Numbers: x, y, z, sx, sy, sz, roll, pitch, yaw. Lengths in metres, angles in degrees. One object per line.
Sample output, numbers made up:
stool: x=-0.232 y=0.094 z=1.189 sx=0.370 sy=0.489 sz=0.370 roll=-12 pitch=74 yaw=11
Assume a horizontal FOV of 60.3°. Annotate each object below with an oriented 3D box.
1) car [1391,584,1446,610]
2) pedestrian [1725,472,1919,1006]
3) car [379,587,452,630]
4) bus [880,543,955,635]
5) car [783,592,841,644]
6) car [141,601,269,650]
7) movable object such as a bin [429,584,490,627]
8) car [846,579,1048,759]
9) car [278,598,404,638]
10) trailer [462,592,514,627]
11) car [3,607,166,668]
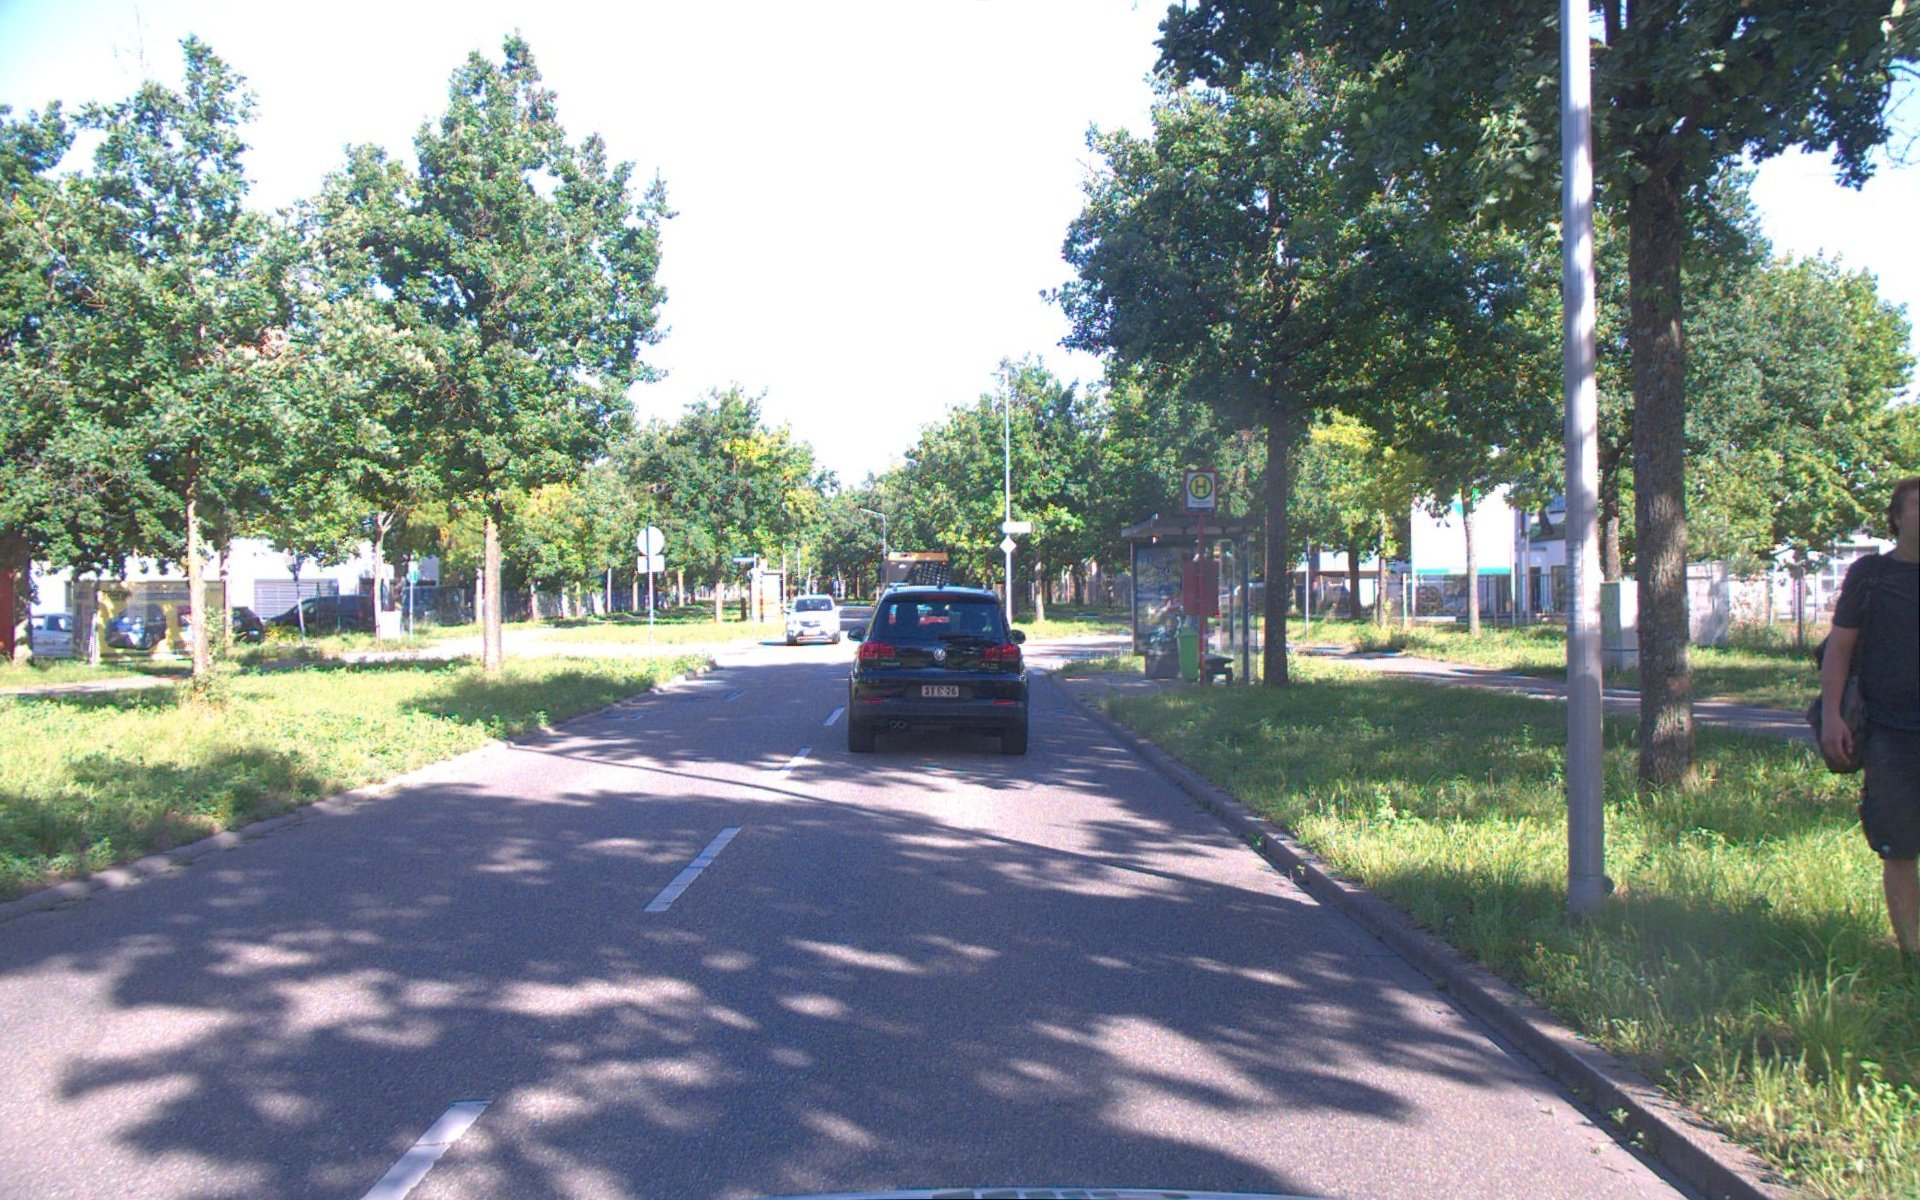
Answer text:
car: x=25.595 y=-0.163 z=92.476 sx=1.731 sy=1.408 sz=3.763 roll=-1 pitch=0 yaw=-6
pedestrian: x=3.439 y=0.426 z=5.773 sx=0.998 sy=1.680 sz=1.099 roll=-1 pitch=0 yaw=-1
car: x=-27.098 y=0.416 z=82.502 sx=1.995 sy=2.023 sz=5.802 roll=-1 pitch=0 yaw=-4
bus: x=-1.906 y=-0.459 z=69.669 sx=2.709 sy=3.517 sz=11.203 roll=-1 pitch=0 yaw=-4
car: x=-4.663 y=0.518 z=51.799 sx=1.710 sy=1.490 sz=4.421 roll=-2 pitch=1 yaw=-6
car: x=-25.699 y=0.862 z=56.342 sx=3.591 sy=1.559 sz=1.824 roll=-1 pitch=0 yaw=13
movable object such as a bin: x=-26.785 y=0.267 z=88.682 sx=2.060 sy=2.255 sz=4.458 roll=-1 pitch=0 yaw=-2
car: x=-0.146 y=0.629 z=17.869 sx=1.896 sy=1.685 sz=4.426 roll=1 pitch=1 yaw=-1
car: x=-25.279 y=0.722 z=67.639 sx=4.406 sy=1.505 sz=1.942 roll=-1 pitch=0 yaw=3
trailer: x=-27.304 y=0.518 z=95.796 sx=2.060 sy=1.948 sz=3.739 roll=-1 pitch=0 yaw=-2
car: x=-24.712 y=1.054 z=46.736 sx=3.662 sy=1.646 sz=1.965 roll=-1 pitch=0 yaw=13
